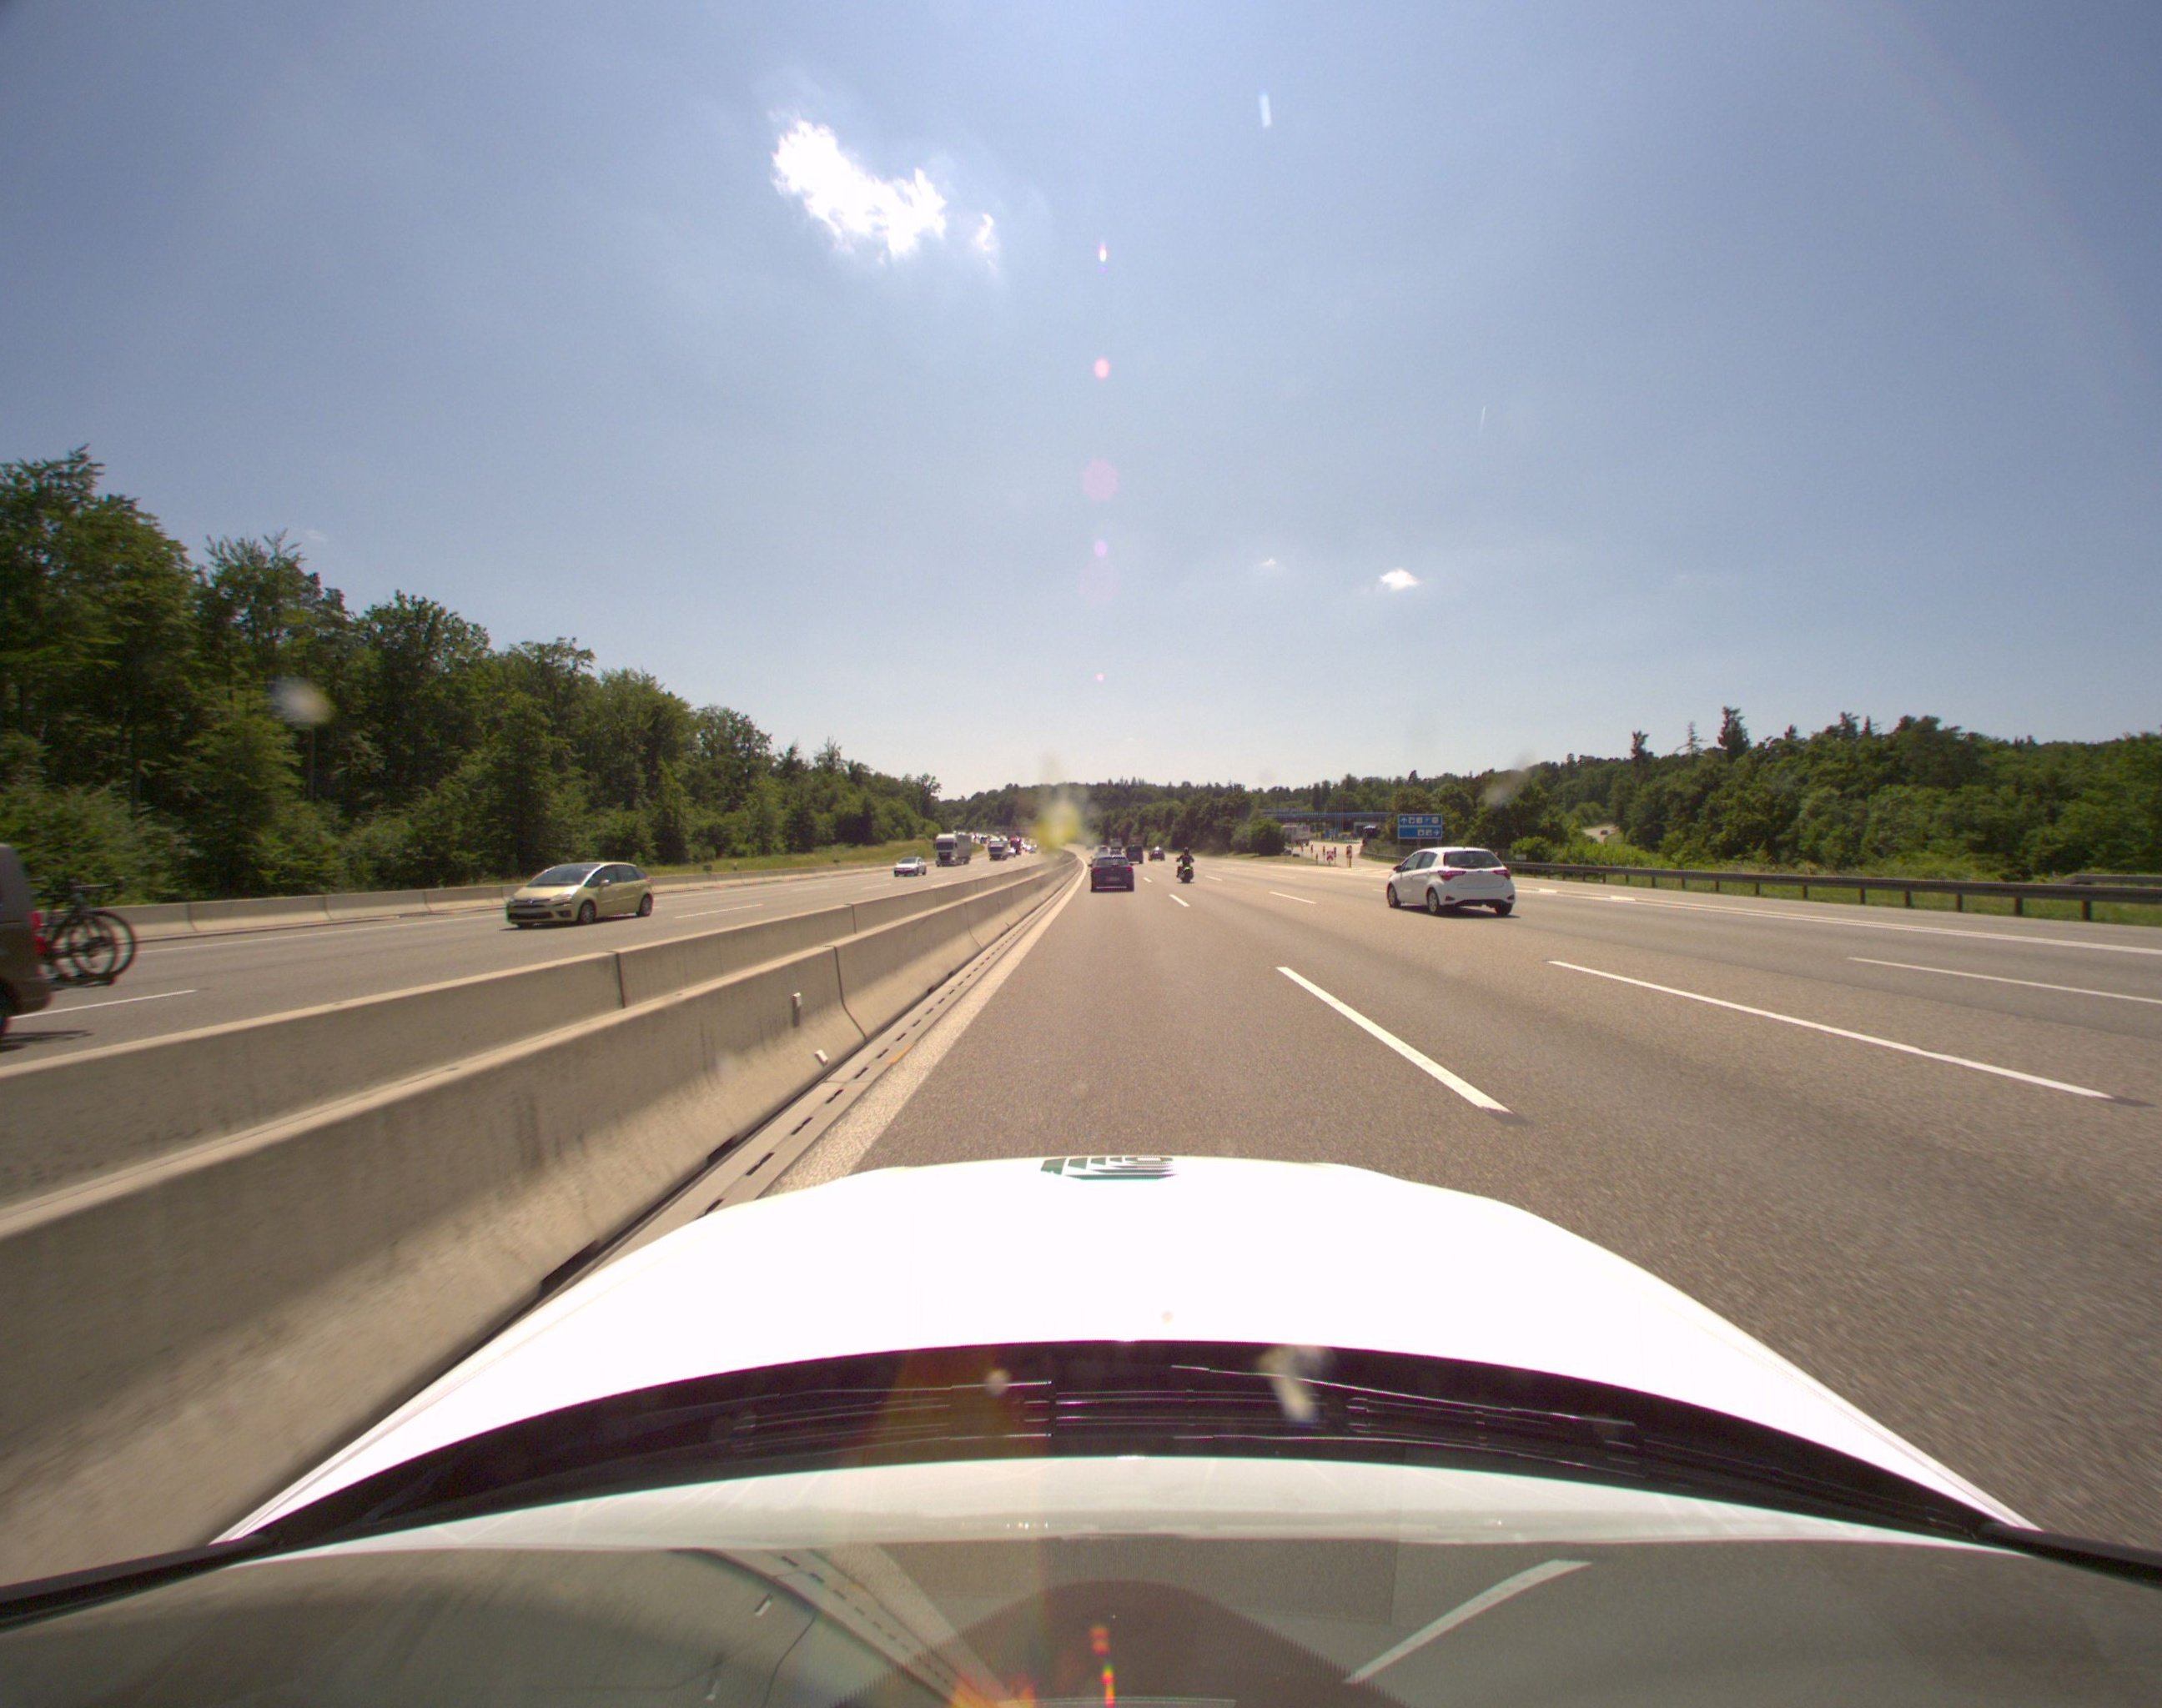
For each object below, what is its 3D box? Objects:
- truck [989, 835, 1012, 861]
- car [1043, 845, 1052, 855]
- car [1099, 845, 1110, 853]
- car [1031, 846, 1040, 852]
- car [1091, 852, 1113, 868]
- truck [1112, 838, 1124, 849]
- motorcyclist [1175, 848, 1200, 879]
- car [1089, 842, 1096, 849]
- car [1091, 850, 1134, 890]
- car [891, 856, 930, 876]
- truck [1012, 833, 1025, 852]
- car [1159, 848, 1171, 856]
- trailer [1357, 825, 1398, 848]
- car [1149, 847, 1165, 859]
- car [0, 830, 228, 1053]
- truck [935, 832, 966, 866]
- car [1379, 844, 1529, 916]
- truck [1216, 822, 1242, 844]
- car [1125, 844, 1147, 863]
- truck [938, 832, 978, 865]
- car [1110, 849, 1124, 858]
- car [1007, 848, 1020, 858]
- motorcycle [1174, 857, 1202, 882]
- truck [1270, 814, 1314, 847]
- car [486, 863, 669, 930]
[{"bbox_3d":[-13.465,-0.959,136.261,2.522,4.177,9.622,-1,0,2],"label":"truck"},{"bbox_3d":[-8.057,-0.928,195.687,1.987,2.288,5.765,-1,1,0],"label":"car"},{"bbox_3d":[4.798,-1.025,165.703,1.987,1.683,4.422,1,1,-1],"label":"car"},{"bbox_3d":[-11.822,-1.336,209.749,1.987,1.548,4.881,-1,1,0],"label":"car"},{"bbox_3d":[1.771,0.505,70.201,1.777,1.265,3.459,-2,0,-1],"label":"car"},{"bbox_3d":[9.272,-2.729,206.011,2.718,2.786,5.681,1,1,-1],"label":"truck"},{"bbox_3d":[5.014,0.437,38.322,0.959,1.437,1.234,-1,0,-1],"label":"motorcyclist"},{"bbox_3d":[3.332,-2.429,238.277,1.987,2.013,4.673,1,1,-1],"label":"car"},{"bbox_3d":[1.325,0.642,32.812,1.617,1.487,3.688,-1,-1,4],"label":"car"},{"bbox_3d":[-13.326,0.923,63.940,1.865,1.480,4.815,0,0,2],"label":"car"},{"bbox_3d":[-14.761,-2.716,193.720,2.493,4.350,6.604,-1,1,-1],"label":"truck"},{"bbox_3d":[13.653,-0.357,132.749,1.602,1.212,3.461,-1,0,2],"label":"car"},{"bbox_3d":[51.359,-3.080,140.632,3.128,3.636,13.710,-1,2,35],"label":"trailer"},{"bbox_3d":[9.345,-0.093,100.714,1.669,1.431,3.686,0,0,1],"label":"car"},{"bbox_3d":[-10.397,0.781,6.056,1.865,1.940,5.777,-2,0,2],"label":"car"},{"bbox_3d":[-16.348,-0.616,102.611,2.672,4.177,6.233,-1,0,1],"label":"truck"},{"bbox_3d":[8.466,0.532,18.924,1.659,1.433,4.379,-1,0,3],"label":"car"},{"bbox_3d":[33.994,-4.663,187.347,3.315,4.829,14.697,-1,1,0],"label":"truck"},{"bbox_3d":[5.872,-0.054,87.023,2.089,1.851,4.082,-1,0,1],"label":"car"},{"bbox_3d":[-16.354,-0.735,109.454,2.748,4.177,14.512,-1,0,1],"label":"truck"},{"bbox_3d":[5.217,-0.065,118.582,1.836,1.222,4.223,1,1,-1],"label":"car"},{"bbox_3d":[-13.494,-0.158,162.610,1.987,1.970,5.737,-1,1,0],"label":"car"},{"bbox_3d":[5.027,0.698,38.423,0.974,1.129,2.270,-1,0,-1],"label":"motorcycle"},{"bbox_3d":[43.757,-4.771,169.441,5.487,6.266,15.438,-1,0,2],"label":"truck"},{"bbox_3d":[-13.501,1.061,22.266,1.865,1.534,4.815,-2,0,2],"label":"car"}]
